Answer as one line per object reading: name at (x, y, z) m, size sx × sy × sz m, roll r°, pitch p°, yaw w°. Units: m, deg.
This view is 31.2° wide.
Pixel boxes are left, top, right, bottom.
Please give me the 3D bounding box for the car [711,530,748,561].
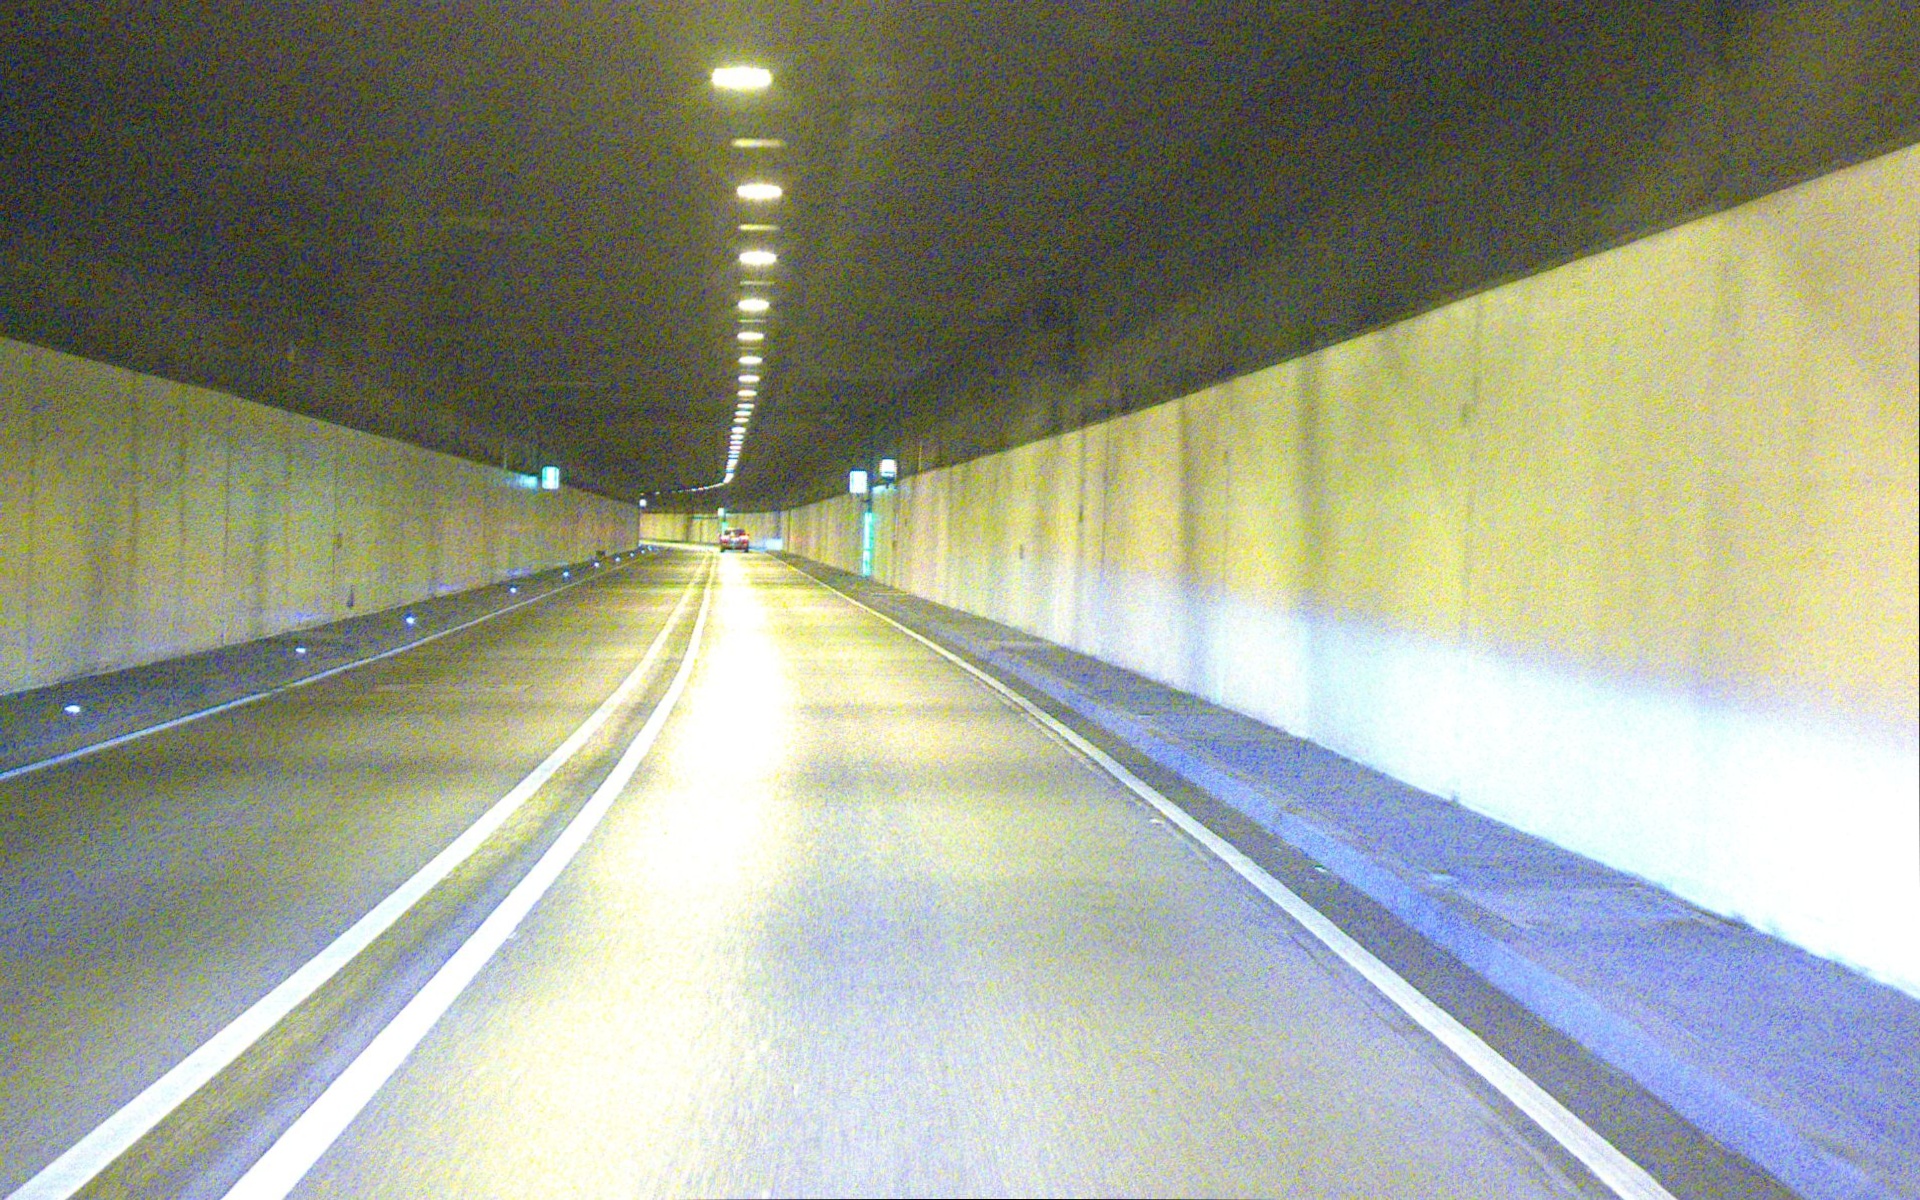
car at (-15.025, -3.536, 223.805) m, size 1.966 × 1.932 × 4.614 m, roll 1°, pitch 0°, yaw -8°
